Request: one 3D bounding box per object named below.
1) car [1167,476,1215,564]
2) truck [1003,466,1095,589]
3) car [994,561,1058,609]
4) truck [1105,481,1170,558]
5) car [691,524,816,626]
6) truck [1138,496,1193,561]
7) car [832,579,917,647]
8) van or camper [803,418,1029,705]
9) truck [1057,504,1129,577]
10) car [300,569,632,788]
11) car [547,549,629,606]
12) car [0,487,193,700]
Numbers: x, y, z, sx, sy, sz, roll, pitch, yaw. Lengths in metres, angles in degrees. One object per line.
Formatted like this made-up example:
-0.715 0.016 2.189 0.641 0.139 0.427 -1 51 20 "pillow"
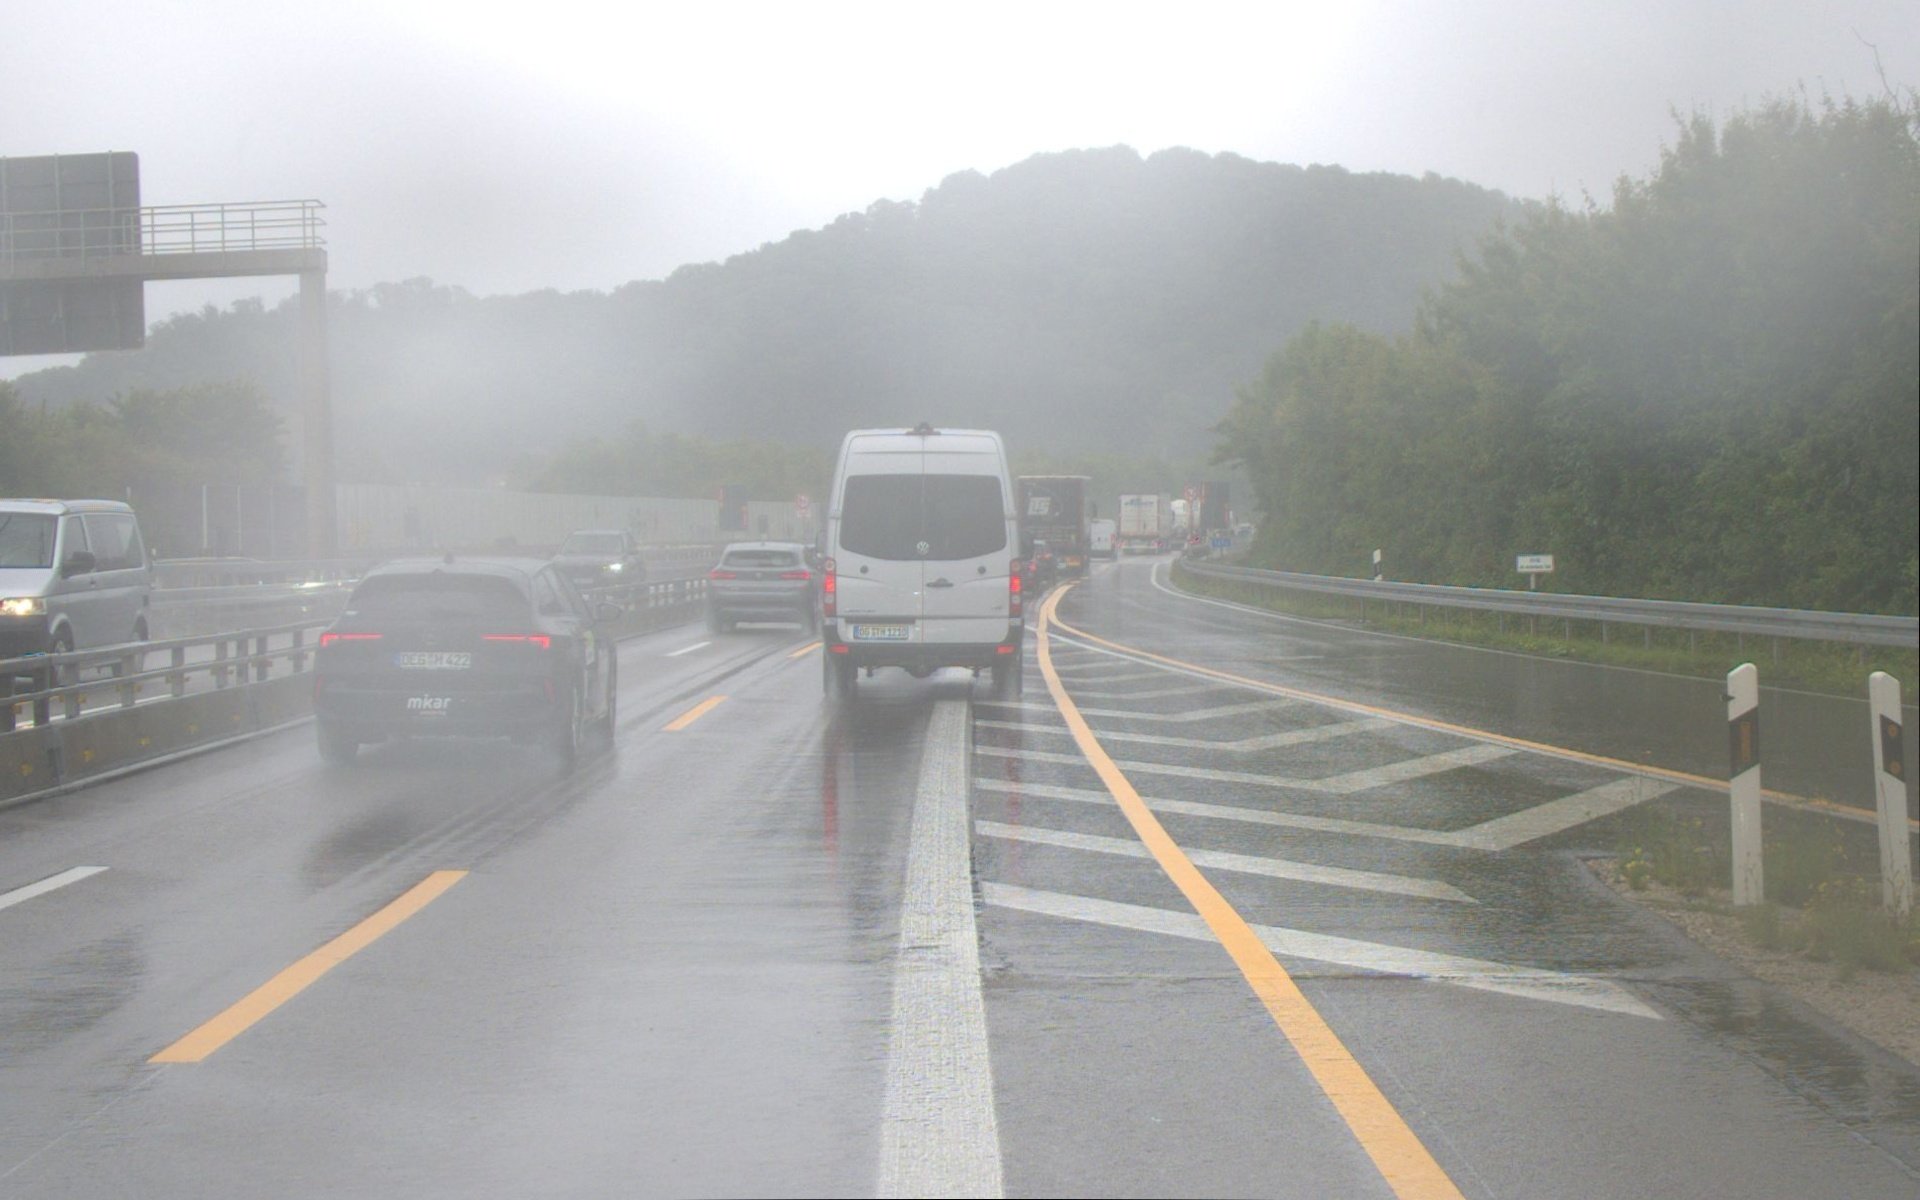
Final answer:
11.171 -3.812 166.627 2.058 4.177 6.746 0 1 2 "car"
3.567 -2.886 140.359 3.320 4.768 9.907 1 0 0 "truck"
1.725 -0.403 90.933 1.384 1.252 3.123 0 1 -4 "car"
11.605 -5.171 223.910 3.929 4.768 9.905 1 0 4 "truck"
-3.437 -0.426 57.870 1.867 1.653 3.988 0 1 0 "car"
15.724 -5.413 262.275 3.929 4.768 9.905 1 0 4 "truck"
-1.923 0.279 78.264 1.852 1.495 4.000 0 1 0 "car"
-0.410 -0.390 34.928 2.139 2.712 4.648 0 1 0 "van or camper"
7.099 -3.160 184.782 3.320 3.749 9.907 1 0 0 "truck"
-3.485 0.498 25.059 1.938 1.422 4.761 1 1 -3 "car"
-9.014 -0.553 83.545 1.631 1.346 3.655 0 0 0 "car"
-9.565 -0.092 35.486 1.908 2.007 5.828 1 0 0 "car"
